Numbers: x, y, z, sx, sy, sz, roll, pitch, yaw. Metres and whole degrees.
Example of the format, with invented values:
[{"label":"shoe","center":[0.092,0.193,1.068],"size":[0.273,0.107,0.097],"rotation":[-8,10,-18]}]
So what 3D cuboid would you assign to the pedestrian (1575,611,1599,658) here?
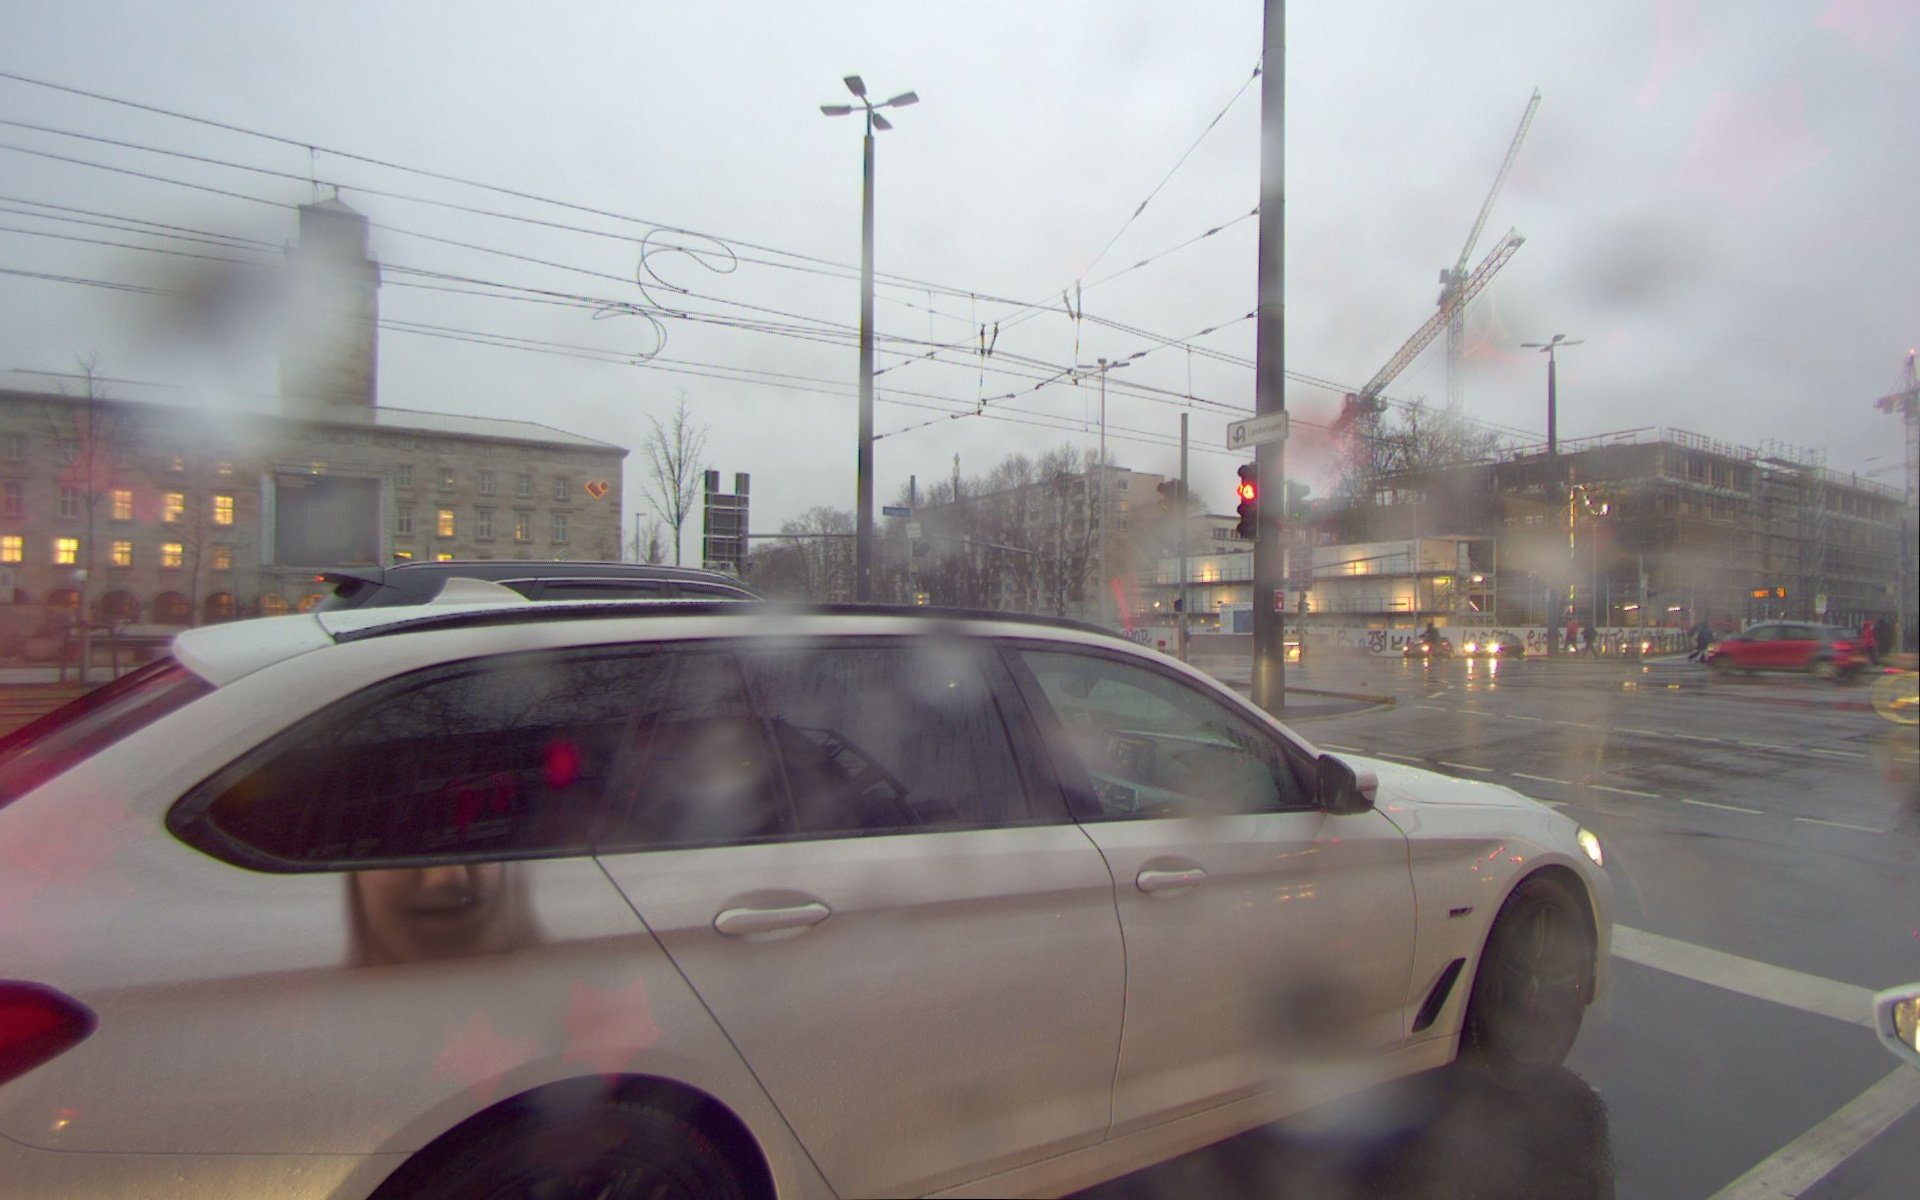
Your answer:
[{"label":"pedestrian","center":[27.486,1.505,44.031],"size":[0.762,2.040,0.613],"rotation":[0,-1,22]}]

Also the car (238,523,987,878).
[{"label":"car","center":[-2.151,0.573,6.997],"size":[4.564,1.766,1.692],"rotation":[2,-2,-34]}]

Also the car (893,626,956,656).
[{"label":"car","center":[-2.124,2.409,59.336],"size":[1.978,1.706,3.965],"rotation":[1,-2,-33]}]

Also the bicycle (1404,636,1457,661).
[{"label":"bicycle","center":[20.667,2.139,44.175],"size":[0.536,1.004,2.114],"rotation":[7,-5,-35]}]

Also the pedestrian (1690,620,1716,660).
[{"label":"pedestrian","center":[30.855,1.643,41.716],"size":[0.675,1.640,0.701],"rotation":[2,-2,-39]}]

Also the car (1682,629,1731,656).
[{"label":"car","center":[58.253,3.280,78.344],"size":[3.961,2.040,1.980],"rotation":[2,-2,-36]}]

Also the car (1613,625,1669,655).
[{"label":"car","center":[47.977,2.829,70.782],"size":[3.959,2.040,1.981],"rotation":[2,-2,-34]}]

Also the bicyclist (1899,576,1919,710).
[{"label":"bicyclist","center":[13.804,0.610,13.945],"size":[0.715,1.863,0.986],"rotation":[2,0,-39]}]

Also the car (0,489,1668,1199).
[{"label":"car","center":[-0.108,0.697,3.005],"size":[4.868,1.540,1.900],"rotation":[2,-2,-32]}]

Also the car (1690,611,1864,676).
[{"label":"car","center":[23.779,1.239,29.367],"size":[1.656,1.603,3.554],"rotation":[2,1,-28]}]

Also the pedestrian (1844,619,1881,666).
[{"label":"pedestrian","center":[33.233,1.556,36.995],"size":[0.607,1.701,0.833],"rotation":[1,-1,-4]}]

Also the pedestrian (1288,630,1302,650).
[{"label":"pedestrian","center":[25.742,3.078,77.143],"size":[0.787,1.549,0.641],"rotation":[2,-2,-32]}]

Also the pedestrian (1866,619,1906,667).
[{"label":"pedestrian","center":[33.941,1.566,36.835],"size":[0.664,1.710,0.845],"rotation":[1,-1,-6]}]

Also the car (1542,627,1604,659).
[{"label":"car","center":[39.982,2.783,65.530],"size":[3.958,2.040,1.982],"rotation":[2,-2,-34]}]

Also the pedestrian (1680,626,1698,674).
[{"label":"pedestrian","center":[31.323,2.123,43.155],"size":[0.635,2.040,0.503],"rotation":[1,-1,-40]}]

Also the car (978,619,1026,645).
[{"label":"car","center":[2.932,2.282,71.409],"size":[1.683,1.785,4.292],"rotation":[1,-2,-24]}]

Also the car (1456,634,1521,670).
[{"label":"car","center":[31.160,3.056,59.186],"size":[3.959,2.040,1.745],"rotation":[1,-2,-34]}]

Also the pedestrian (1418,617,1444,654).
[{"label":"pedestrian","center":[20.727,1.567,44.182],"size":[0.531,1.590,0.809],"rotation":[7,-4,-34]}]

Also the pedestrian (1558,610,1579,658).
[{"label":"pedestrian","center":[26.679,1.488,44.079],"size":[0.674,2.115,0.613],"rotation":[0,-1,20]}]

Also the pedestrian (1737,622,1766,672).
[{"label":"pedestrian","center":[32.371,1.907,41.078],"size":[0.741,2.040,0.785],"rotation":[2,-2,-40]}]

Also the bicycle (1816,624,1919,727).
[{"label":"bicycle","center":[13.811,1.089,13.961],"size":[0.714,1.380,2.808],"rotation":[2,0,-38]}]
